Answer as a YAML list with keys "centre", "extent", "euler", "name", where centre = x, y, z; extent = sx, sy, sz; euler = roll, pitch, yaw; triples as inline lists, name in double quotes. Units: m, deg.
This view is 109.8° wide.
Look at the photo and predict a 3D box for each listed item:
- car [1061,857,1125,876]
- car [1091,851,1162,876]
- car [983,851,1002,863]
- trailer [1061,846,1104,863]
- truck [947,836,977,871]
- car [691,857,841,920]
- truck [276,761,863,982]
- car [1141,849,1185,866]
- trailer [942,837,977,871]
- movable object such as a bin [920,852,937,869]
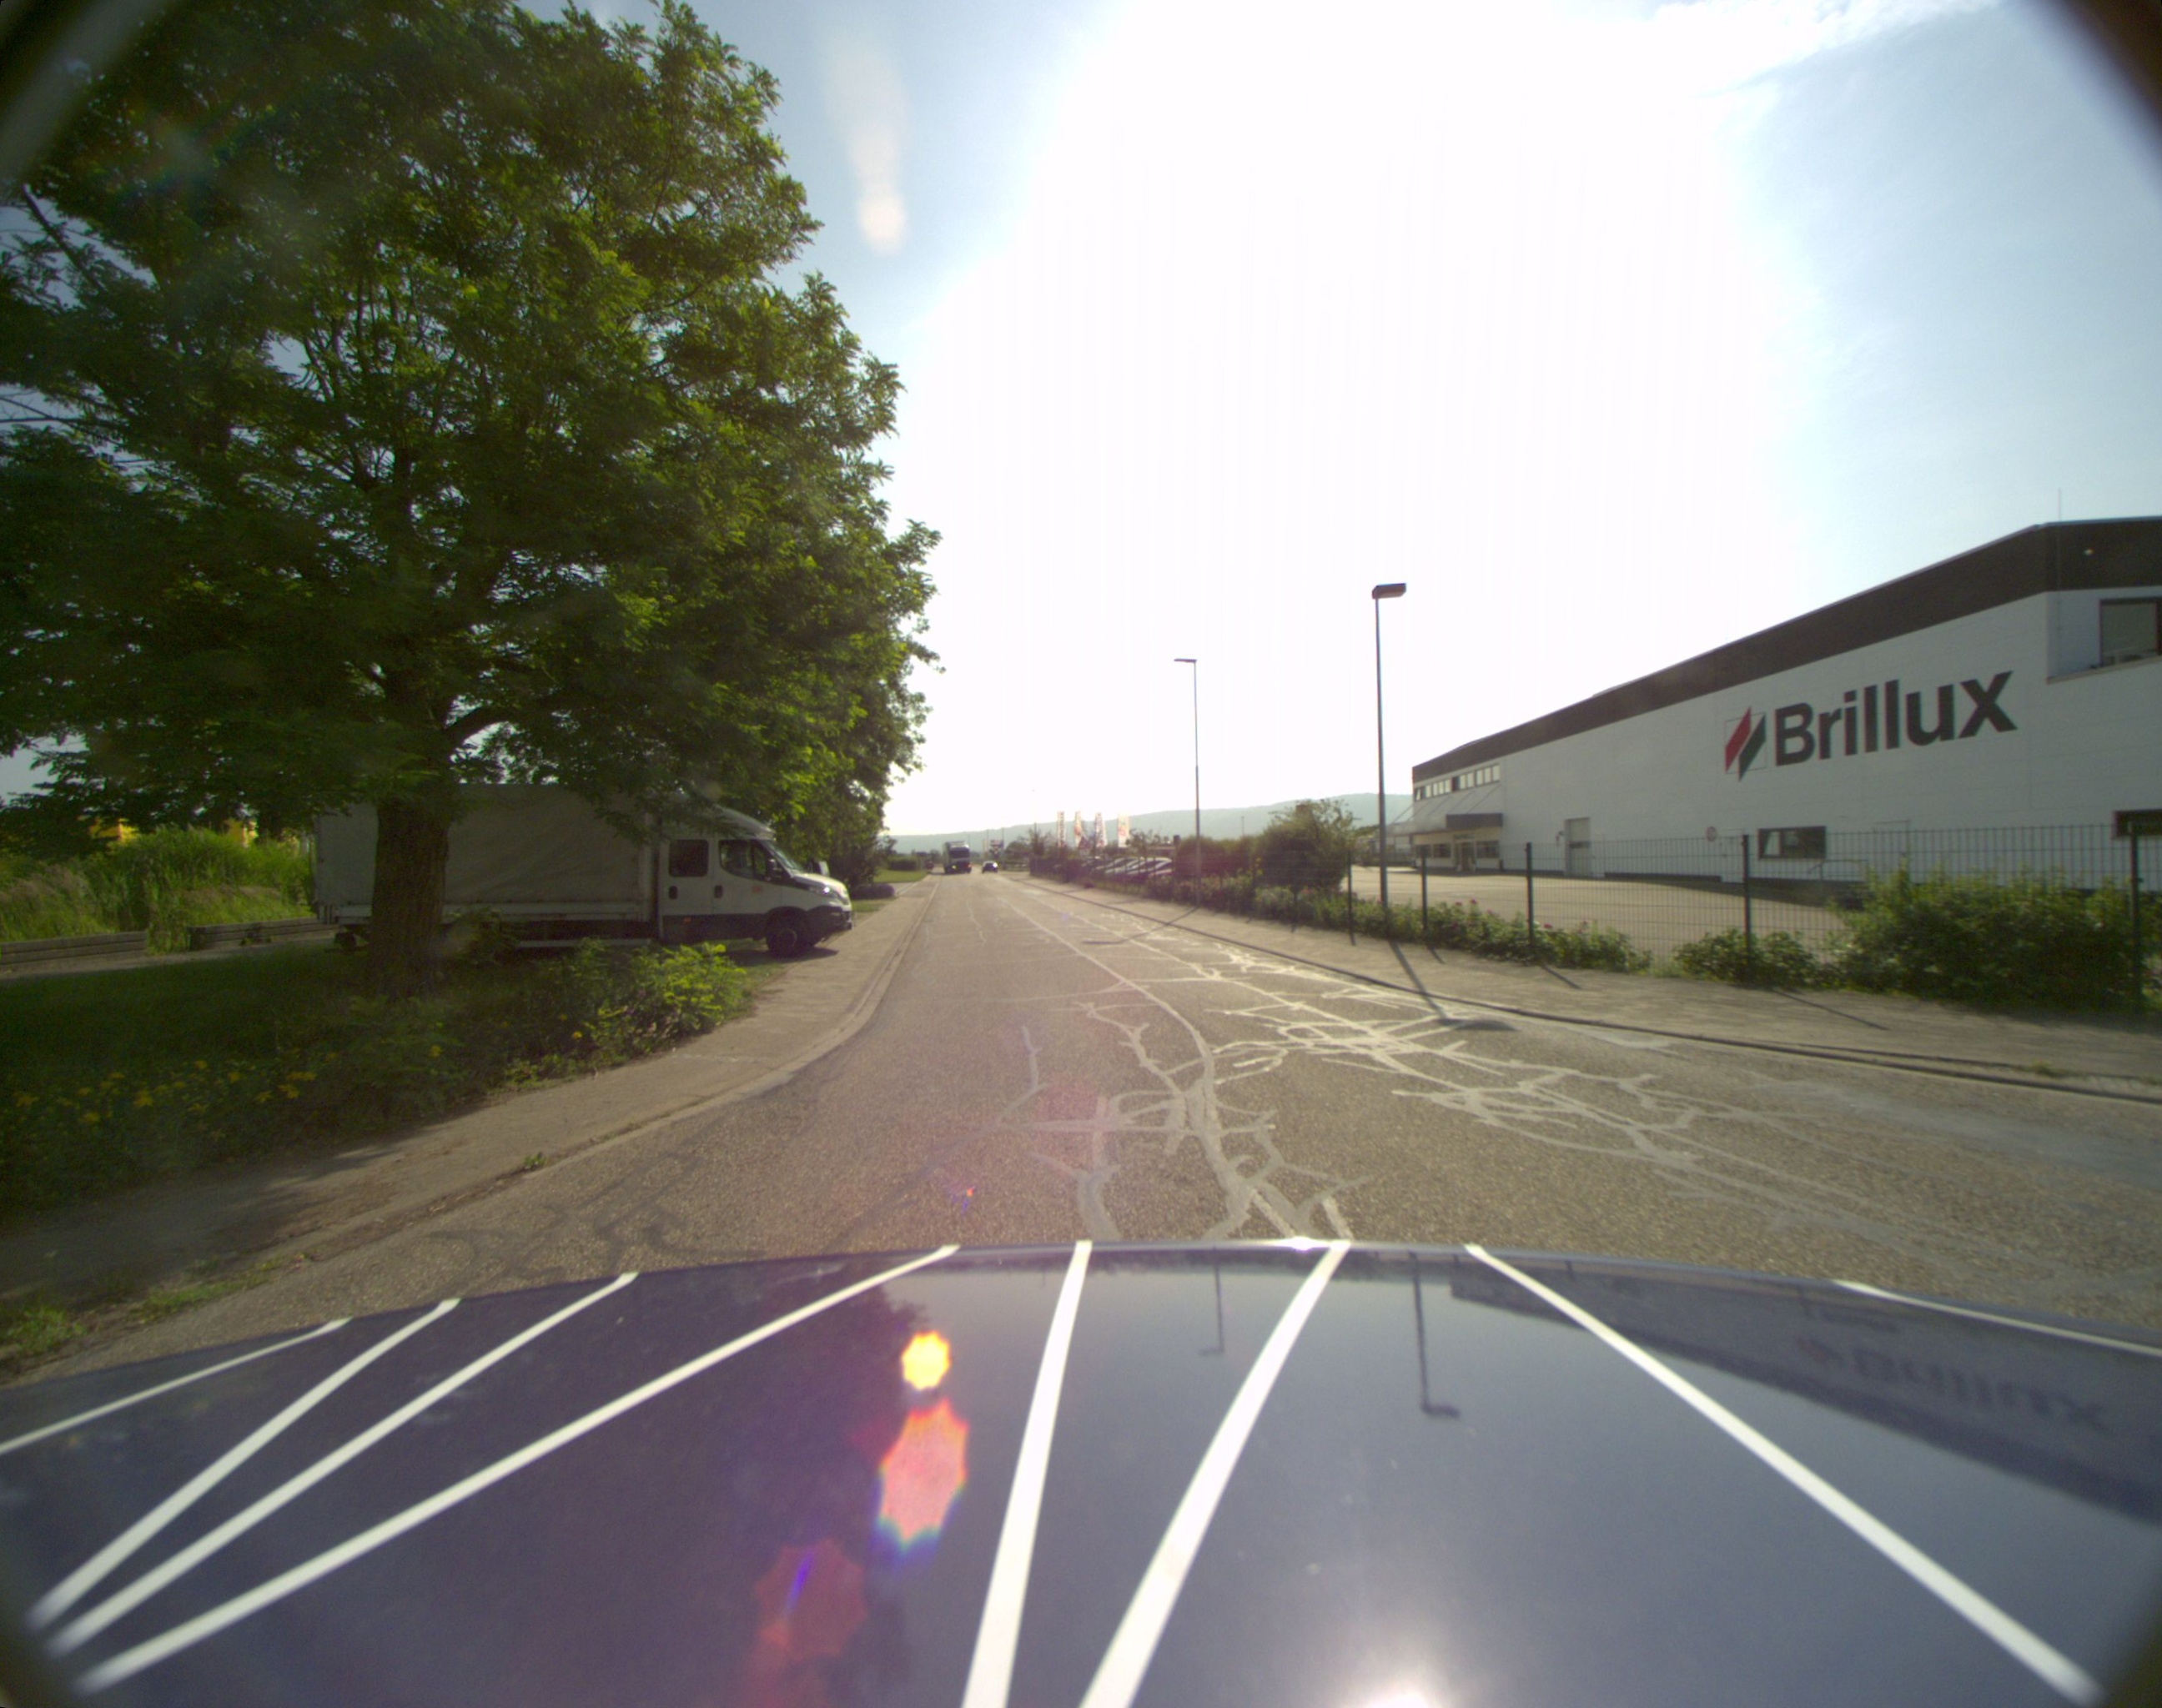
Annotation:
- centre: [0.925, 0.989, 59.461]
  extent: [4.702, 1.435, 2.076]
  euler: [0, 0, -10]
  name: "car"
- centre: [2.841, 0.588, 47.868]
  extent: [4.141, 1.558, 1.863]
  euler: [0, 0, -10]
  name: "car"
- centre: [-11.161, 0.432, 95.381]
  extent: [2.001, 1.440, 4.415]
  euler: [1, 0, -11]
  name: "car"
- centre: [0.259, 0.119, 115.369]
  extent: [6.320, 2.589, 2.855]
  euler: [0, 0, 4]
  name: "trailer"
- centre: [-15.240, -0.086, 96.997]
  extent: [3.398, 4.183, 6.092]
  euler: [-4, 2, -9]
  name: "truck"
- centre: [-9.894, 1.036, 24.173]
  extent: [4.000, 1.827, 1.998]
  euler: [-1, 0, -8]
  name: "car"
- centre: [-8.358, 0.189, 13.643]
  extent: [8.237, 3.351, 2.738]
  euler: [-1, 1, -11]
  name: "truck"
- centre: [9.196, 0.409, 84.659]
  extent: [4.657, 1.742, 2.153]
  euler: [-1, 0, 11]
  name: "car"
- centre: [-16.772, -0.063, 103.929]
  extent: [3.501, 4.183, 14.215]
  euler: [-4, 1, -13]
  name: "trailer"
- centre: [-27.651, 1.085, 137.870]
  extent: [2.438, 2.994, 5.745]
  euler: [0, 0, -17]
  name: "movable object such as a bin"
